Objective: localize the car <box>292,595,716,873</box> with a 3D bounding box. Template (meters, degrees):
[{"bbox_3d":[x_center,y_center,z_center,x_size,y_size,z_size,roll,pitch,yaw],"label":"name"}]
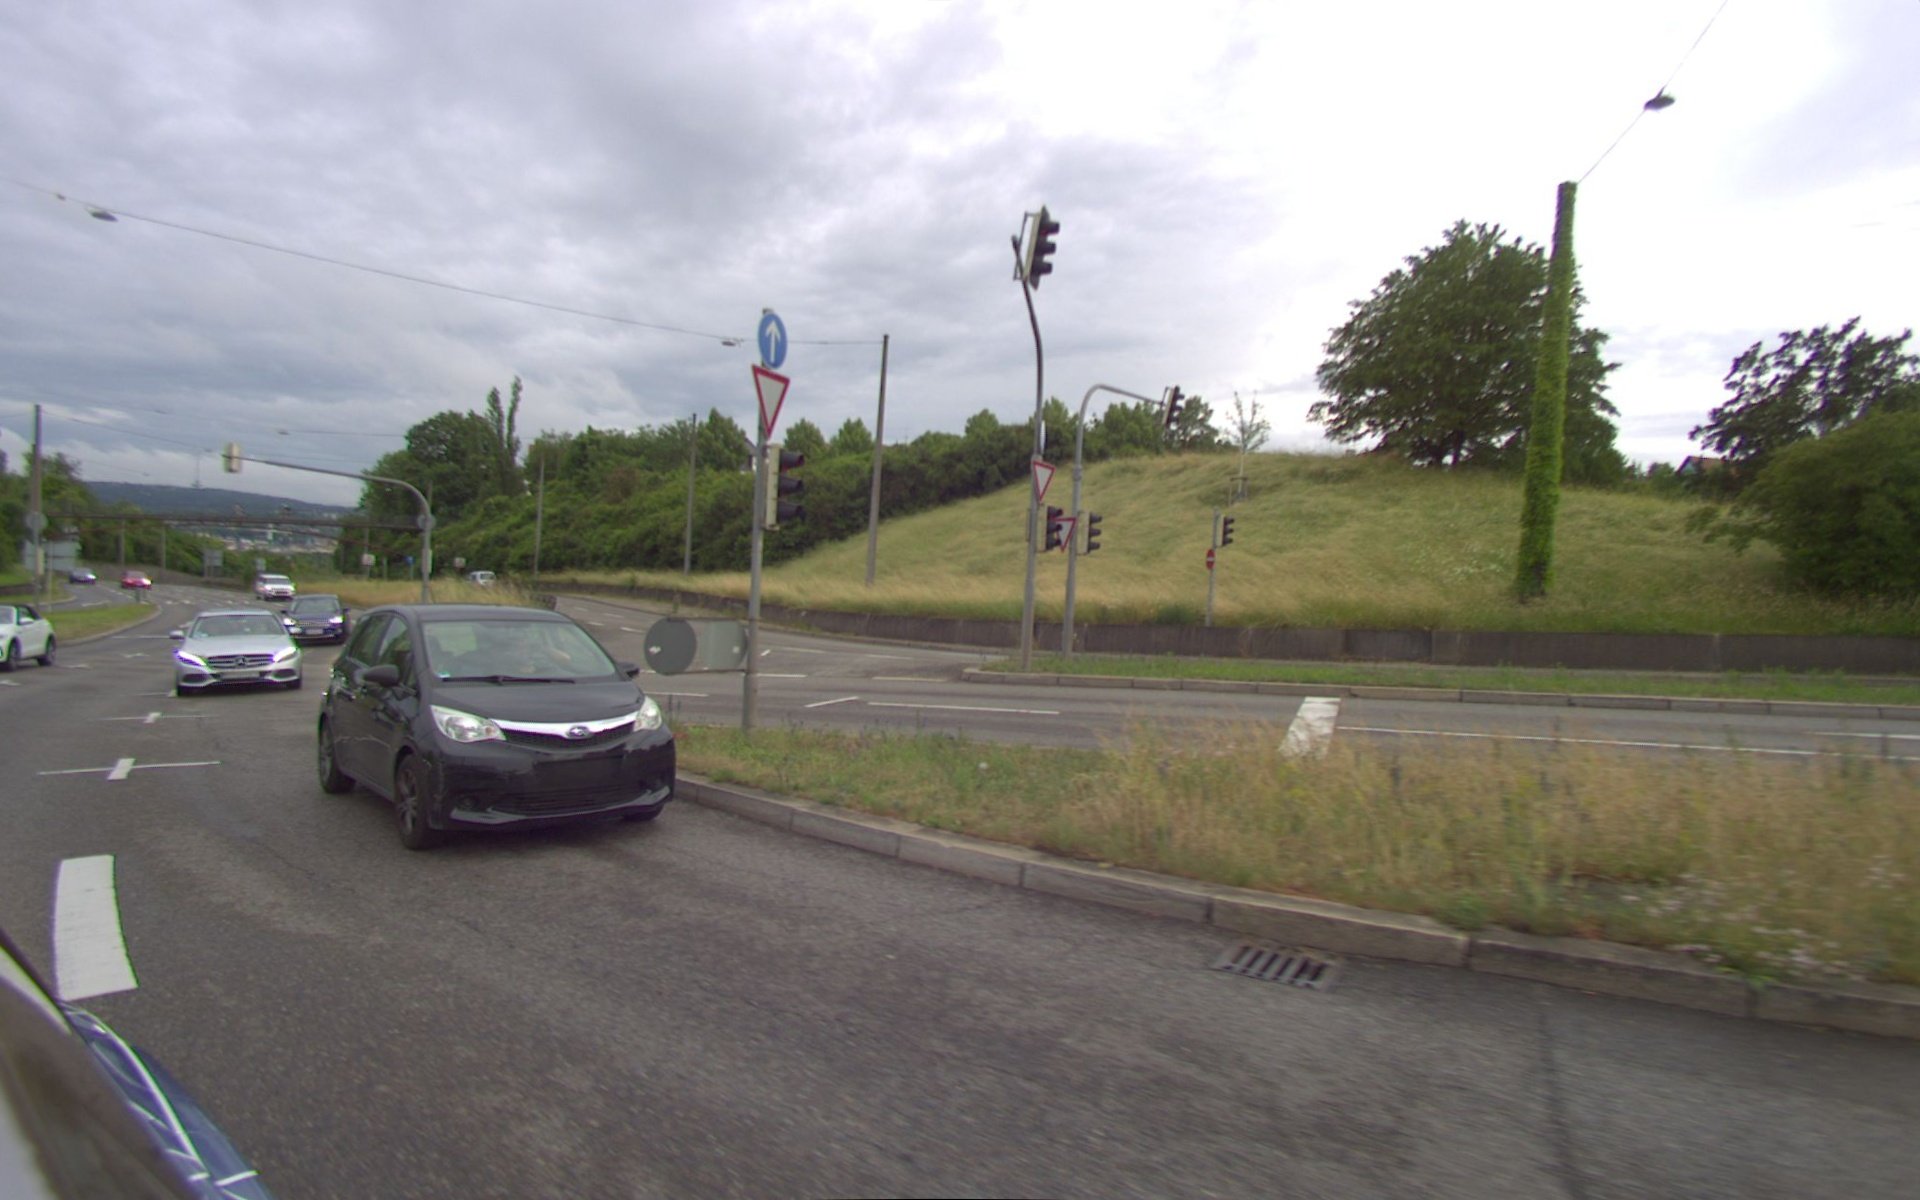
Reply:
[{"bbox_3d":[-3.711,0.786,7.843,1.774,1.577,4.047,2,-2,-43],"label":"car"}]

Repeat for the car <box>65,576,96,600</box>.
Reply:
[{"bbox_3d":[-79.023,-1.066,90.901,1.970,2.029,4.004,-1,1,-43],"label":"car"}]

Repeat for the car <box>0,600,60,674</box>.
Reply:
[{"bbox_3d":[-22.282,0.802,22.965,1.812,1.552,3.831,0,1,-26],"label":"car"}]

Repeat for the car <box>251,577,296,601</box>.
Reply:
[{"bbox_3d":[-49.179,-0.772,72.481,1.971,1.705,4.292,-1,1,-45],"label":"car"}]

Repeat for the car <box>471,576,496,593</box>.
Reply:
[{"bbox_3d":[-41.917,-1.366,88.964,1.535,1.443,3.239,-2,2,-33],"label":"car"}]

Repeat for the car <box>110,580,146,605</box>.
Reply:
[{"bbox_3d":[-69.446,-0.596,84.466,1.970,2.029,4.003,-1,1,-44],"label":"car"}]

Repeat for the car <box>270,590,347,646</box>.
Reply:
[{"bbox_3d":[-22.002,0.559,34.327,1.895,1.748,4.038,-1,0,-29],"label":"car"}]

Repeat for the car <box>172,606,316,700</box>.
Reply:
[{"bbox_3d":[-13.491,0.887,18.950,1.968,1.418,4.534,-1,1,-38],"label":"car"}]
